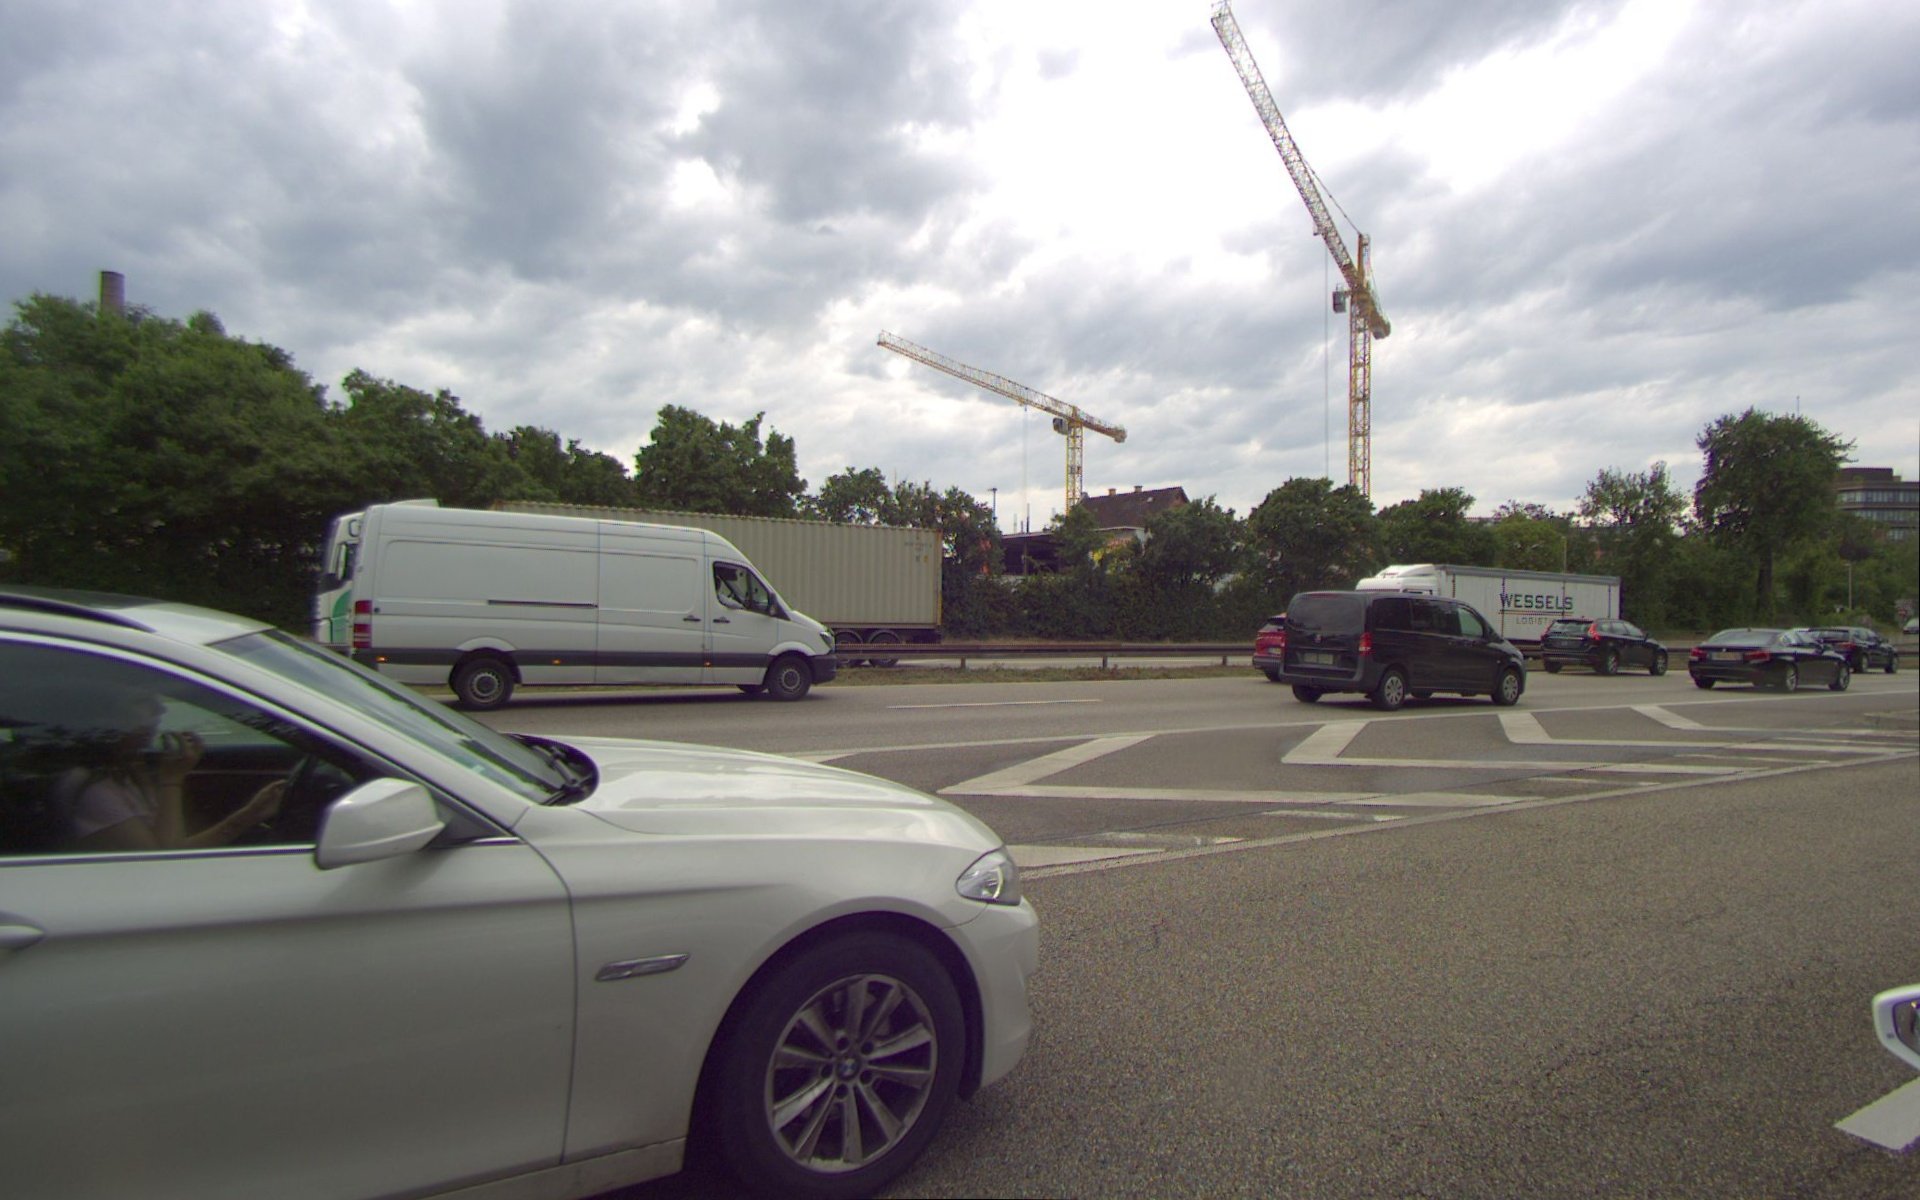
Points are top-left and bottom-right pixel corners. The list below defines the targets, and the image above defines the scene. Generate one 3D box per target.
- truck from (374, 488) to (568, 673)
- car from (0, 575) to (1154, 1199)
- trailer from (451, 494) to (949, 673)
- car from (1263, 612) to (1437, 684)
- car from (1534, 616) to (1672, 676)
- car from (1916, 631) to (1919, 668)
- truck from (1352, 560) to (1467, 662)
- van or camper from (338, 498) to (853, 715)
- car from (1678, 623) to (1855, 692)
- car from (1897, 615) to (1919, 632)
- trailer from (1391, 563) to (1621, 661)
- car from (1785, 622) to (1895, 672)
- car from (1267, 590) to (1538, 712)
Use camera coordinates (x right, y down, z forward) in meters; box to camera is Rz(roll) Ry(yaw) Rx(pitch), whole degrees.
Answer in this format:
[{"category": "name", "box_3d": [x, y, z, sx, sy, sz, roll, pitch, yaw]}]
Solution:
[{"category": "truck", "box_3d": [-11.730, -0.380, 24.097, 3.954, 4.074, 2.394, 1, -1, -31]}, {"category": "car", "box_3d": [-1.986, 0.694, 2.432, 4.828, 1.483, 1.849, 1, 0, -31]}, {"category": "trailer", "box_3d": [-6.489, -0.236, 27.280, 12.927, 4.082, 2.385, 1, -1, -31]}, {"category": "car", "box_3d": [9.228, 1.099, 23.725, 3.896, 1.588, 1.759, 1, -1, -29]}, {"category": "car", "box_3d": [19.244, 1.358, 30.029, 4.216, 1.657, 1.744, 1, 0, -30]}, {"category": "car", "box_3d": [44.438, 2.233, 44.747, 3.962, 1.629, 1.679, 1, 1, -31]}, {"category": "truck", "box_3d": [18.814, 0.487, 42.054, 3.953, 4.043, 2.584, 1, -1, -30]}, {"category": "van or camper", "box_3d": [-5.159, 0.160, 14.960, 6.877, 2.656, 2.039, 1, -1, -31]}, {"category": "car", "box_3d": [19.312, 1.330, 24.022, 4.610, 1.476, 1.705, 1, 0, -29]}, {"category": "car", "box_3d": [91.331, 2.274, 96.208, 3.206, 1.595, 1.430, 1, -1, -30]}, {"category": "trailer", "box_3d": [25.168, 0.650, 45.817, 13.622, 4.035, 2.581, 1, -1, -31]}, {"category": "car", "box_3d": [32.565, 1.713, 37.135, 4.257, 1.704, 1.881, 1, -1, -31]}, {"category": "car", "box_3d": [7.792, 0.839, 17.554, 4.757, 1.876, 1.983, 1, 0, -31]}]
